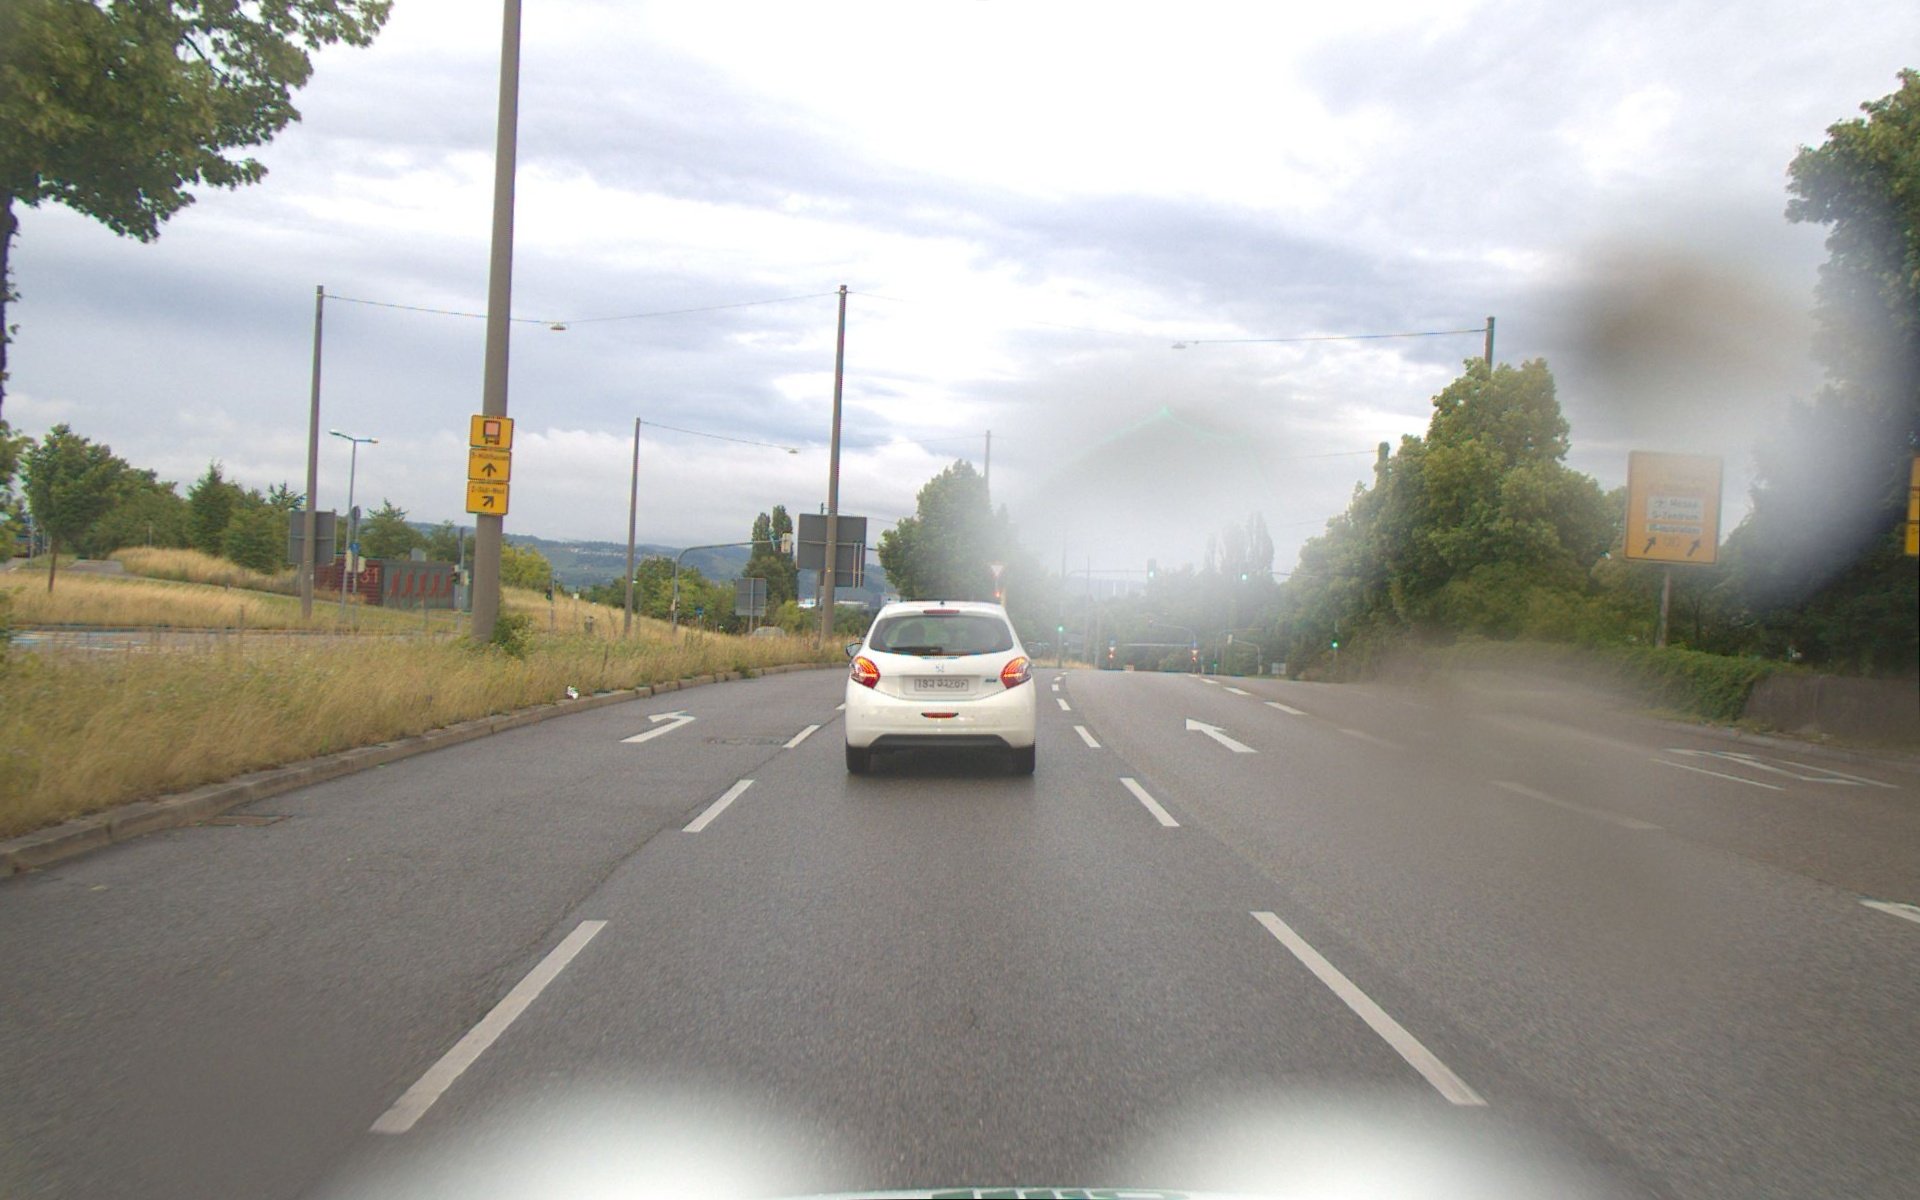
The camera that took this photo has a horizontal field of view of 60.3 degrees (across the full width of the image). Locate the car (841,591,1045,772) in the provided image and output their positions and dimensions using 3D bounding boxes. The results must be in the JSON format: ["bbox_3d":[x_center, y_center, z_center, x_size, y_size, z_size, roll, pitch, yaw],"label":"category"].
[{"bbox_3d":[-0.086,0.668,15.471,1.673,1.465,3.691,1,0,2],"label":"car"}]
